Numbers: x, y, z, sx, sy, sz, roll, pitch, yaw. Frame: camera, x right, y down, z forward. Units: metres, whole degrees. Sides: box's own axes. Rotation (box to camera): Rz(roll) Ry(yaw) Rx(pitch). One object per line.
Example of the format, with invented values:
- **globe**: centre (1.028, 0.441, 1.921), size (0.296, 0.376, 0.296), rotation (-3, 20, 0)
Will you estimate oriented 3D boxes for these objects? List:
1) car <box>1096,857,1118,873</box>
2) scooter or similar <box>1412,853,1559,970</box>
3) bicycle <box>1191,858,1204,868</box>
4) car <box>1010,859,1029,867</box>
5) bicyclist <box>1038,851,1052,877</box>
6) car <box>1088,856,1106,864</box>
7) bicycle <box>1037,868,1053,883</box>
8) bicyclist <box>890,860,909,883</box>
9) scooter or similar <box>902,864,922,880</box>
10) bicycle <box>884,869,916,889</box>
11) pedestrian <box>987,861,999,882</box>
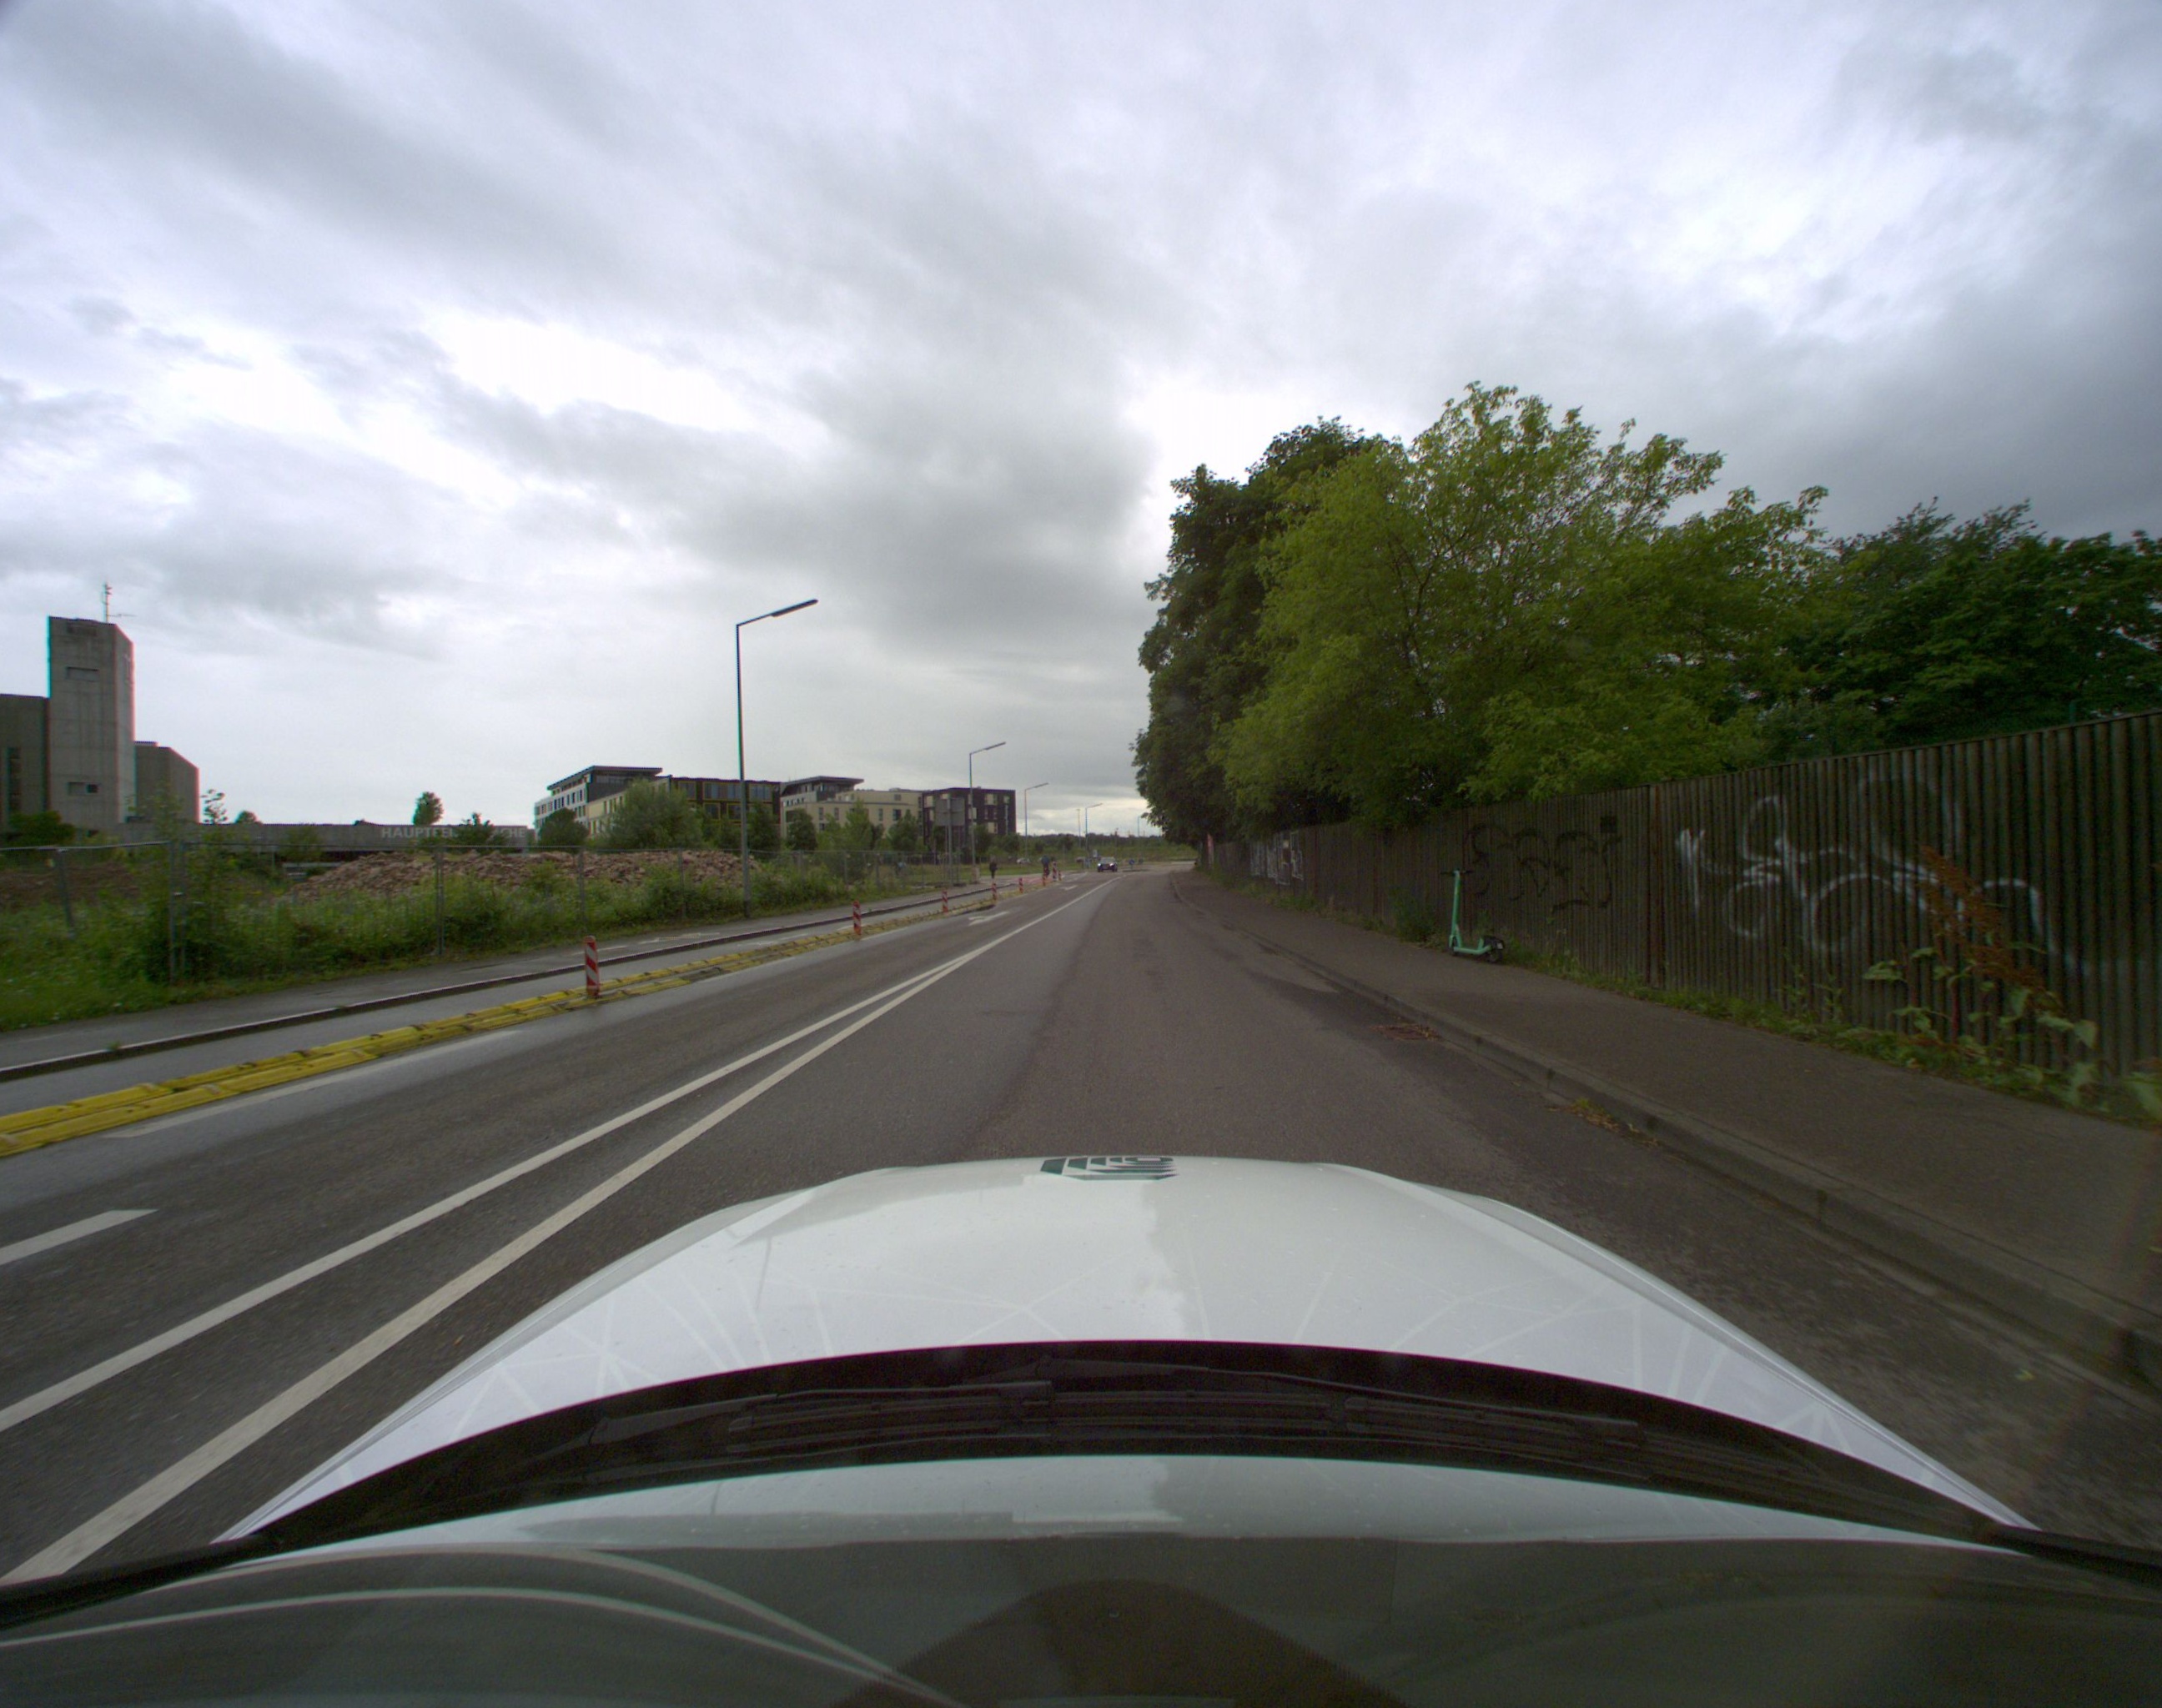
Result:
- **car**: centre (2.817, 1.159, 88.331), size (1.870, 1.566, 4.368), rotation (-2, 0, 8)
- **scooter or similar**: centre (5.124, 0.657, 10.524), size (0.689, 1.312, 2.352), rotation (-2, 0, 0)
- **bicycle**: centre (12.621, 0.984, 88.238), size (0.788, 1.111, 1.964), rotation (-2, -1, 29)
- **car**: centre (-14.405, 2.129, 191.263), size (1.974, 1.517, 4.180), rotation (-2, 0, 39)
- **bicyclist**: centre (-2.768, 0.760, 62.614), size (0.857, 2.013, 1.179), rotation (-2, 0, 5)
- **car**: centre (3.764, 1.358, 188.087), size (2.011, 1.823, 3.952), rotation (-2, 0, -42)
- **bicycle**: centre (-2.745, 1.617, 62.595), size (0.879, 1.052, 2.473), rotation (-2, 0, 5)
- **bicyclist**: centre (-15.383, 1.458, 69.102), size (1.398, 1.899, 1.074), rotation (-2, 0, -10)
- **scooter or similar**: centre (-12.417, 1.348, 59.663), size (0.660, 1.142, 1.881), rotation (0, -1, -38)
- **bicycle**: centre (-15.344, 2.101, 69.117), size (2.492, 1.584, 1.083), rotation (-2, 0, -11)
- **pedestrian**: centre (-7.723, 1.505, 71.484), size (0.840, 1.782, 1.078), rotation (-2, 0, 2)
